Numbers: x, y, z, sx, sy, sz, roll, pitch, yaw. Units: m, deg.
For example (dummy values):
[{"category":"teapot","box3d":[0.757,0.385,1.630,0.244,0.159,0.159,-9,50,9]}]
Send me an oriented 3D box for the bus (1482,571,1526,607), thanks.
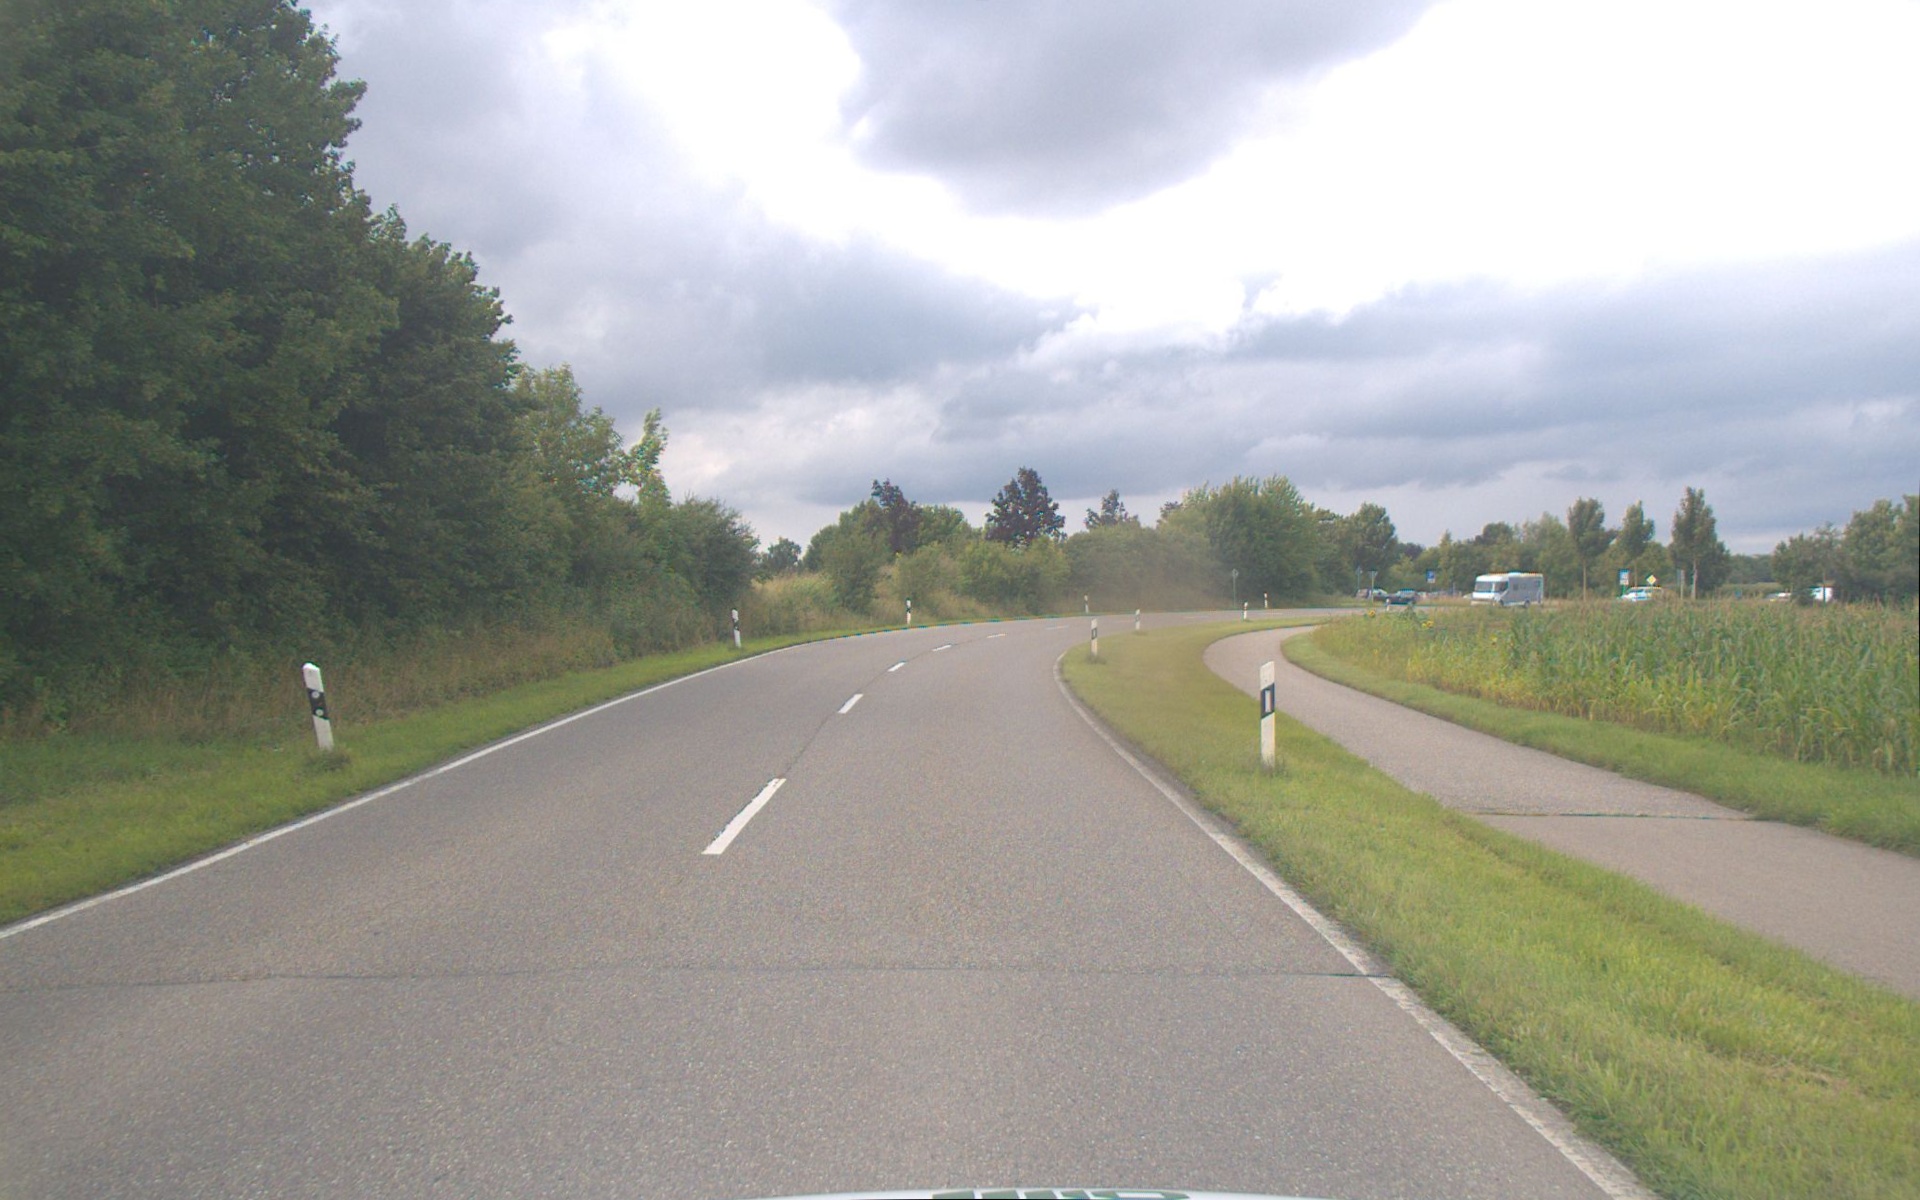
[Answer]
[{"category":"bus","box3d":[43.639,-0.877,132.615,2.425,2.758,8.426,1,1,24]}]
